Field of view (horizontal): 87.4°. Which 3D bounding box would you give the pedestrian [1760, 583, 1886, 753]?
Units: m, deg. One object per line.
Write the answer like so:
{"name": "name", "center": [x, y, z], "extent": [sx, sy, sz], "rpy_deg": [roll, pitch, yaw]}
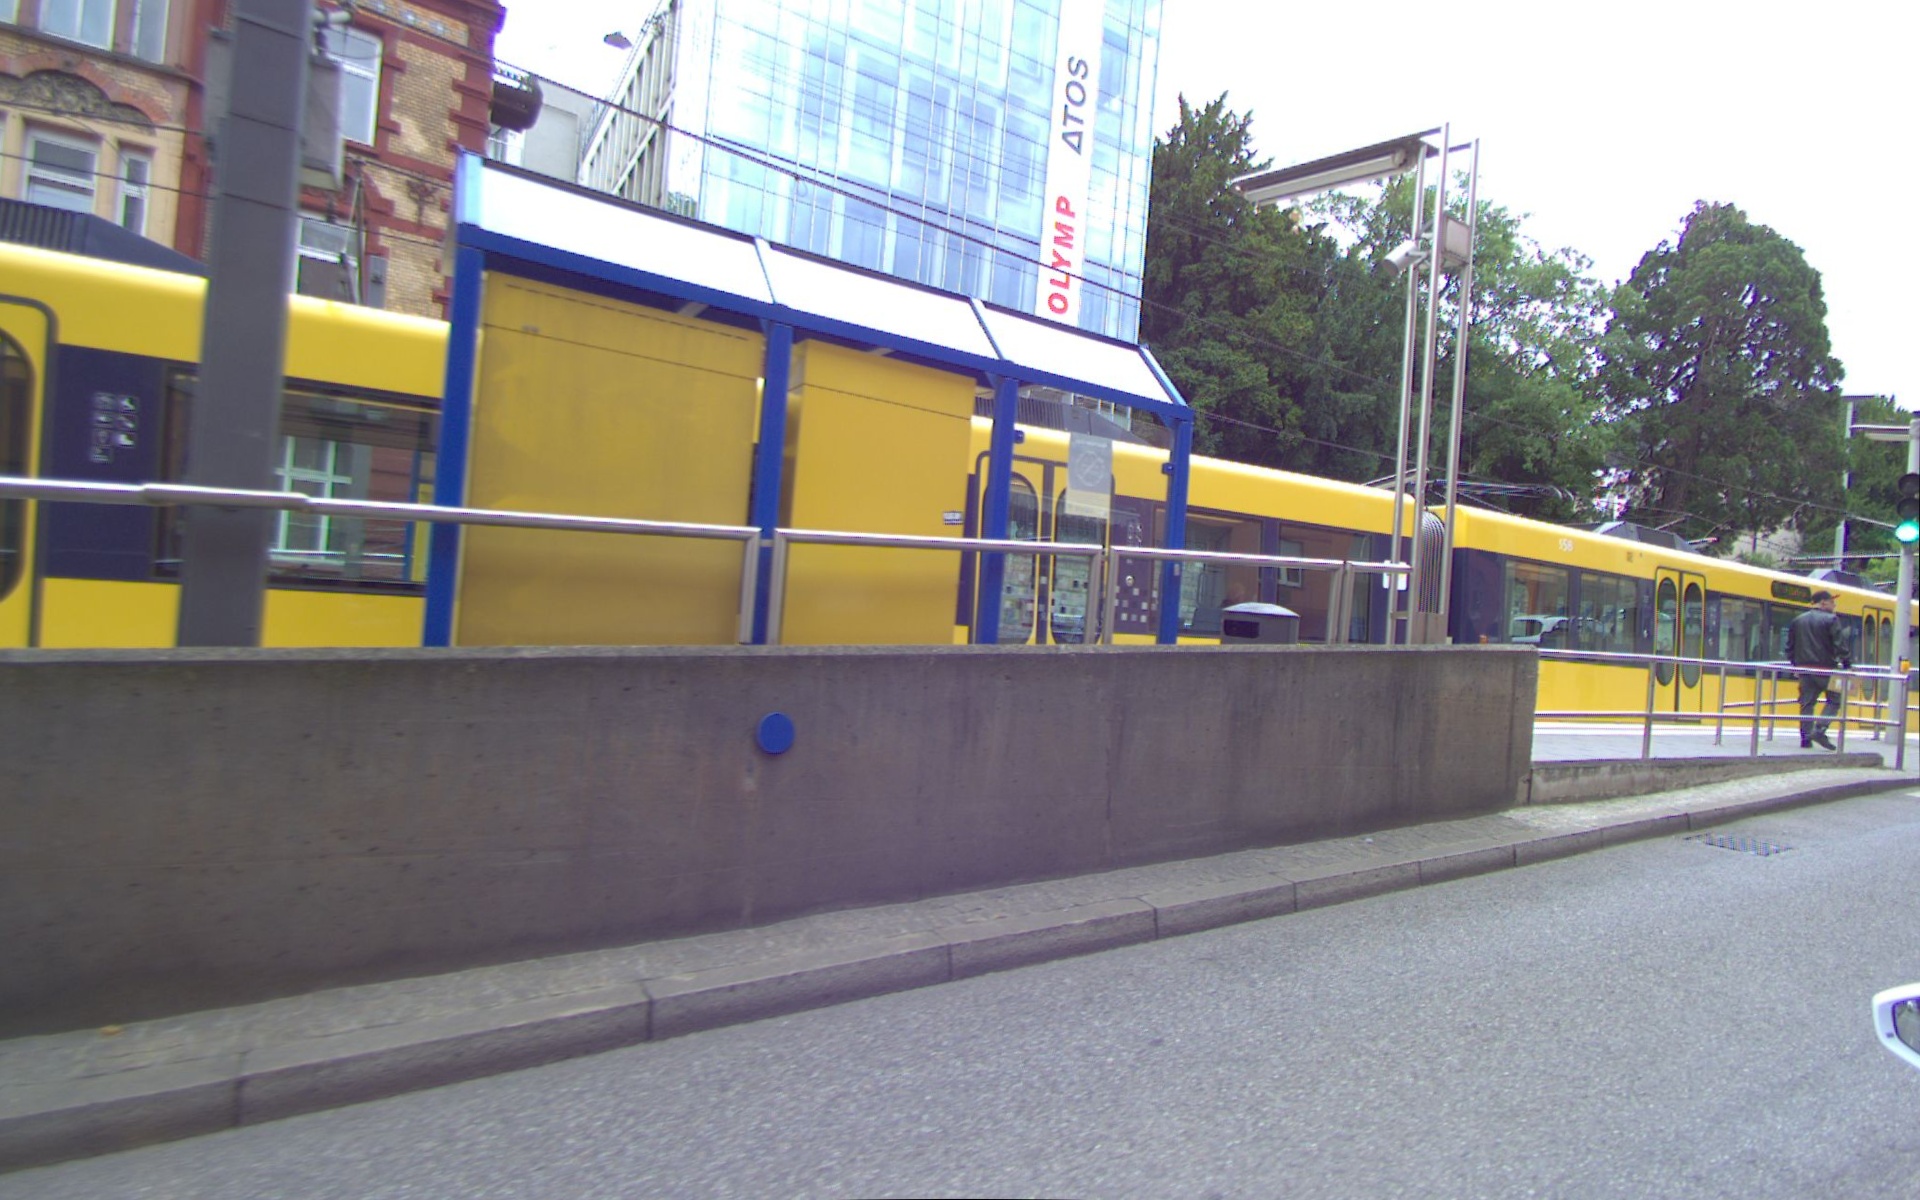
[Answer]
{"name": "pedestrian", "center": [9.649, 0.728, 11.242], "extent": [0.809, 1.801, 0.796], "rpy_deg": [1, 1, -30]}

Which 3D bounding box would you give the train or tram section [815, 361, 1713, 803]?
{"name": "train or tram section", "center": [4.523, 0.311, 12.280], "extent": [12.079, 3.516, 2.935], "rpy_deg": [5, -2, -30]}

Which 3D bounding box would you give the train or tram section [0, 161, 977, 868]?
{"name": "train or tram section", "center": [-5.963, -0.480, 6.187], "extent": [12.255, 3.589, 2.935], "rpy_deg": [4, -1, -30]}

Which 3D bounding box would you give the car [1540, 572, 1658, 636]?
{"name": "car", "center": [22.960, 0.148, 36.057], "extent": [3.956, 2.040, 1.982], "rpy_deg": [2, 2, -32]}

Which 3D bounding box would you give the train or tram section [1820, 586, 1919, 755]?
{"name": "train or tram section", "center": [25.637, 1.772, 24.628], "extent": [12.838, 3.555, 2.934], "rpy_deg": [3, -1, -31]}

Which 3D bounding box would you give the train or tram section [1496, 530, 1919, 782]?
{"name": "train or tram section", "center": [14.885, 1.109, 18.398], "extent": [12.077, 3.529, 2.935], "rpy_deg": [4, -1, -30]}
